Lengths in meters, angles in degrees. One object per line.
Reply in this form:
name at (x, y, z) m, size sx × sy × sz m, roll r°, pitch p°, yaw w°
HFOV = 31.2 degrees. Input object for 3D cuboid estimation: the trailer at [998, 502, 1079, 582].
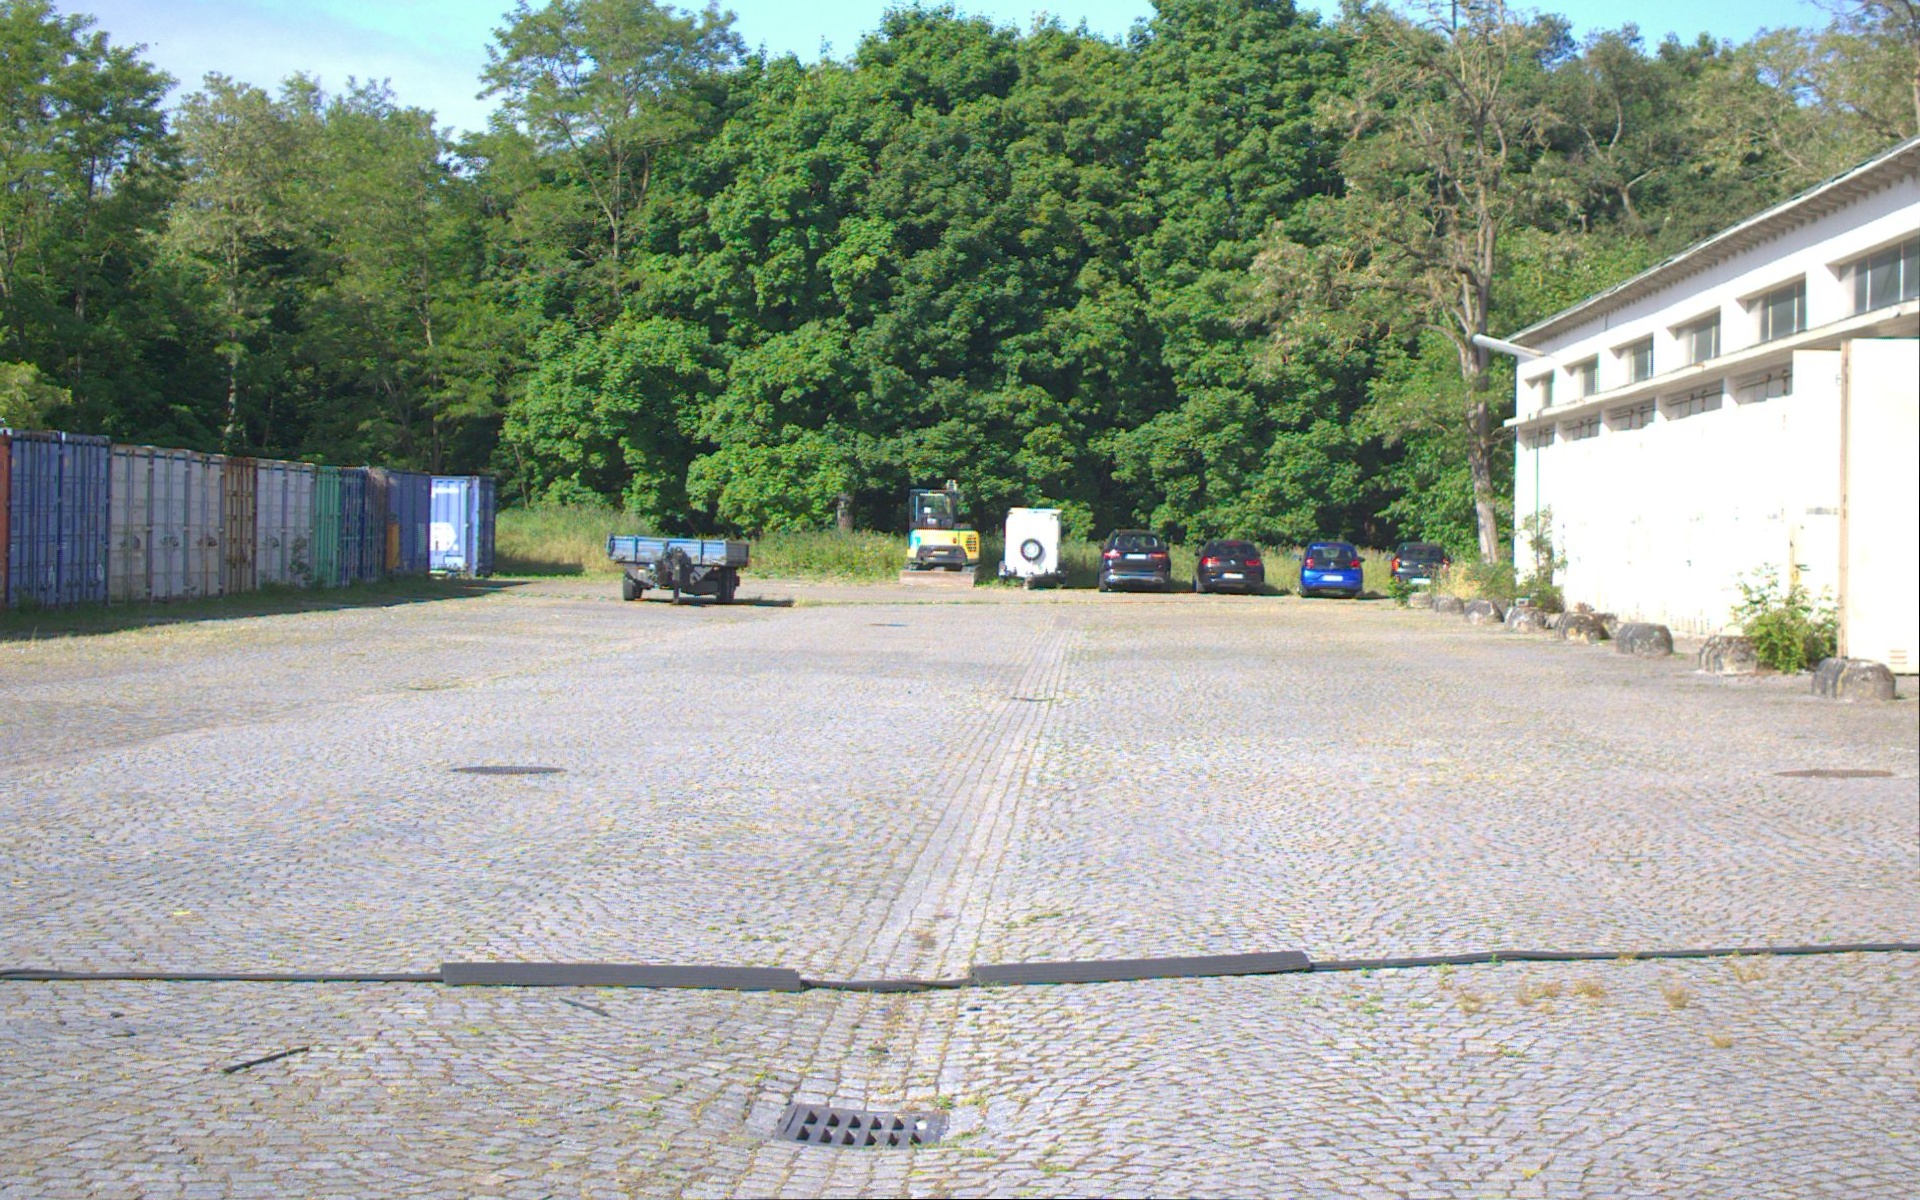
trailer at (2.121, -1.556, 92.378) m, size 1.794 × 2.083 × 3.971 m, roll 1°, pitch 1°, yaw 6°

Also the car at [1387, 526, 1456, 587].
car at (12.314, -1.159, 91.631) m, size 1.686 × 1.558 × 3.999 m, roll 1°, pitch 1°, yaw 9°

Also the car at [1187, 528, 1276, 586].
car at (7.184, -1.150, 90.640) m, size 1.994 × 1.457 × 3.999 m, roll 1°, pitch 1°, yaw 9°

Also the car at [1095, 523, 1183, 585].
car at (4.726, -1.217, 90.288) m, size 1.862 × 1.580 × 3.999 m, roll 1°, pitch 1°, yaw 9°

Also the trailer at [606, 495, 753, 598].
trailer at (-5.967, -1.151, 73.724) m, size 2.407 × 2.007 × 4.173 m, roll 3°, pitch 1°, yaw 4°

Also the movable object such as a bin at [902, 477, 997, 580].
movable object such as a bin at (-0.259, -1.921, 92.761) m, size 1.994 × 2.609 × 3.999 m, roll 3°, pitch 1°, yaw 6°

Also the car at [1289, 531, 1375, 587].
car at (9.813, -1.084, 90.517) m, size 1.994 × 1.415 × 3.999 m, roll 1°, pitch 1°, yaw 9°
